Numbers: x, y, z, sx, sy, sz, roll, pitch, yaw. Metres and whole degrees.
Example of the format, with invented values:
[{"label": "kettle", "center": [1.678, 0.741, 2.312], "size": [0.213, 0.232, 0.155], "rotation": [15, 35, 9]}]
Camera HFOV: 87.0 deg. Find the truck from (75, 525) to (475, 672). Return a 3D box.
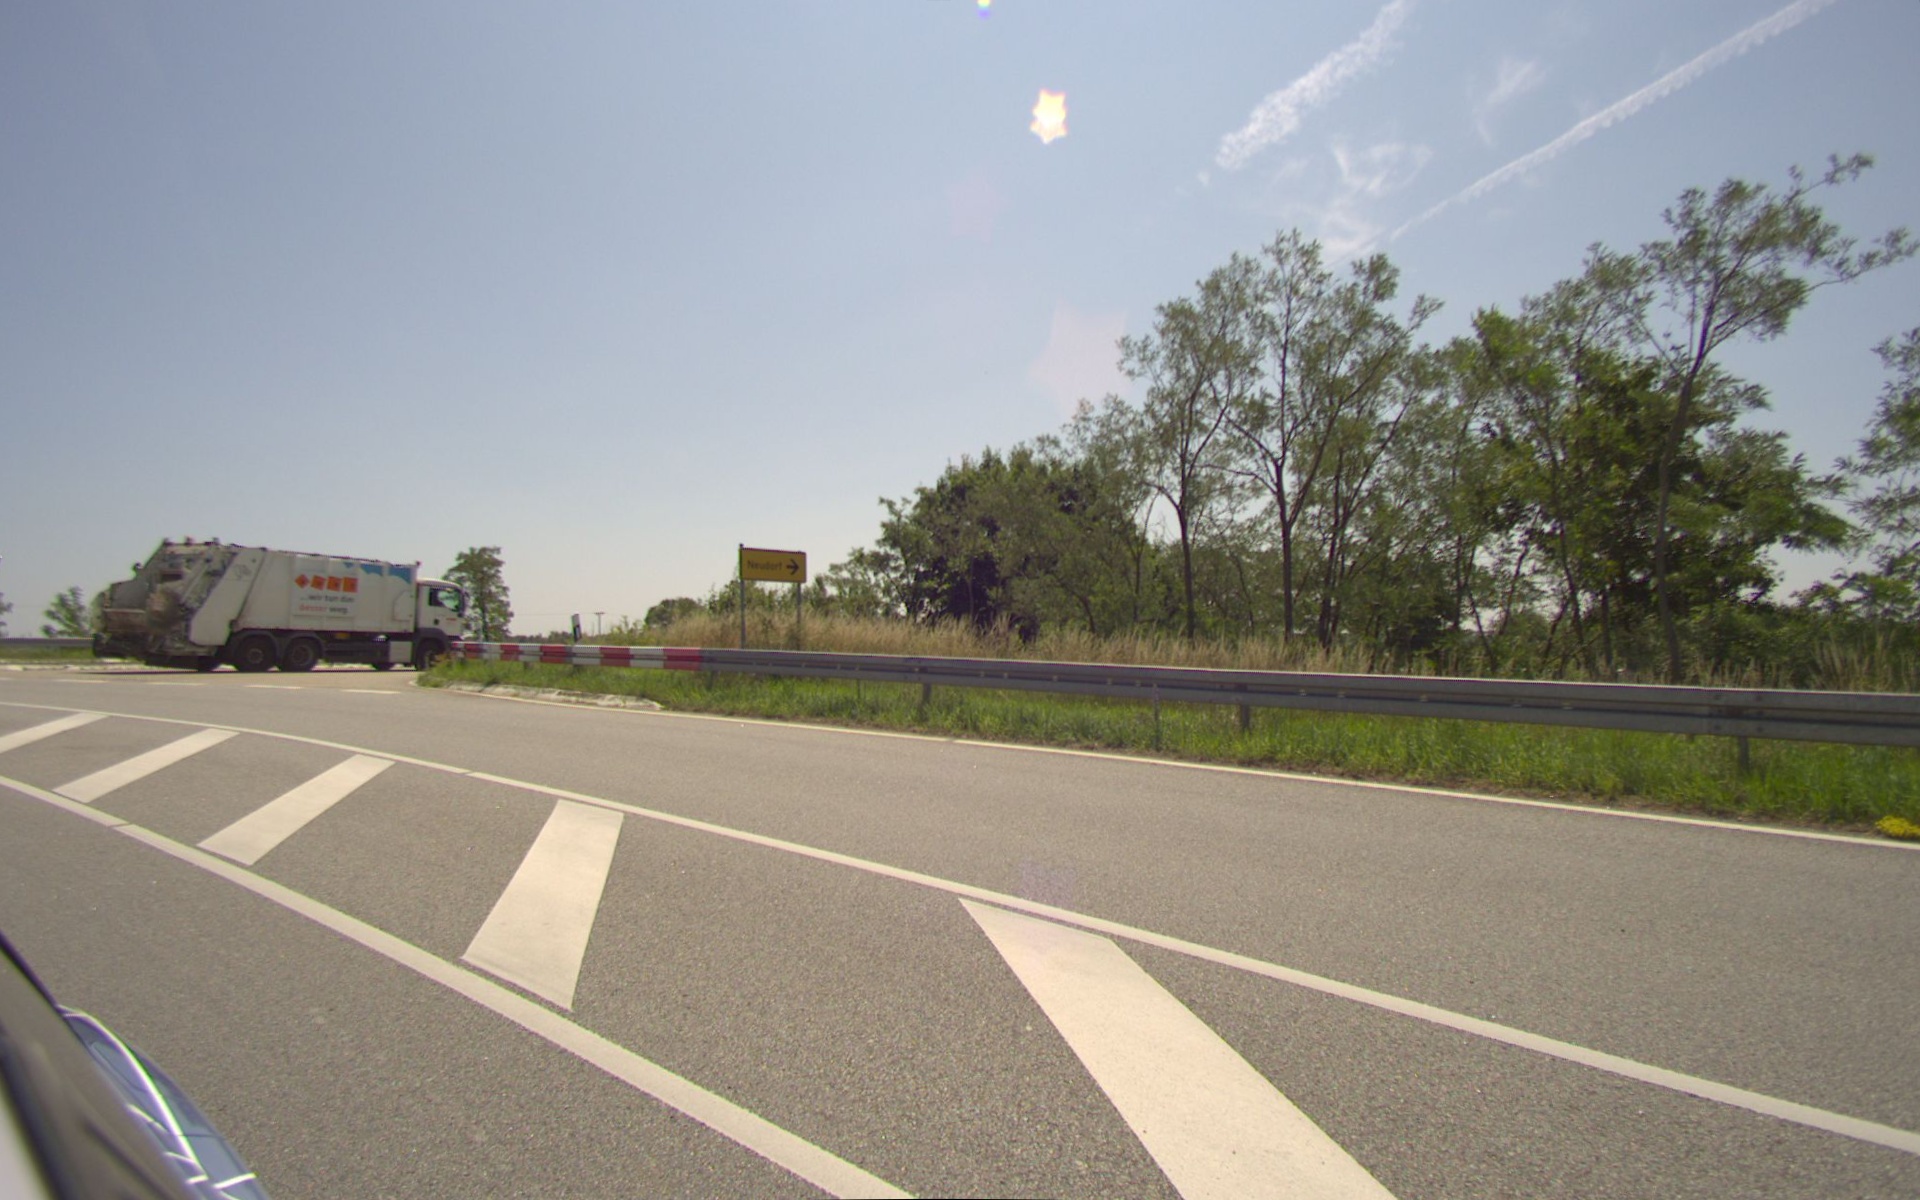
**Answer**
[{"label": "truck", "center": [-19.797, 0.215, 30.423], "size": [2.805, 3.697, 9.866], "rotation": [0, -3, 24]}]
